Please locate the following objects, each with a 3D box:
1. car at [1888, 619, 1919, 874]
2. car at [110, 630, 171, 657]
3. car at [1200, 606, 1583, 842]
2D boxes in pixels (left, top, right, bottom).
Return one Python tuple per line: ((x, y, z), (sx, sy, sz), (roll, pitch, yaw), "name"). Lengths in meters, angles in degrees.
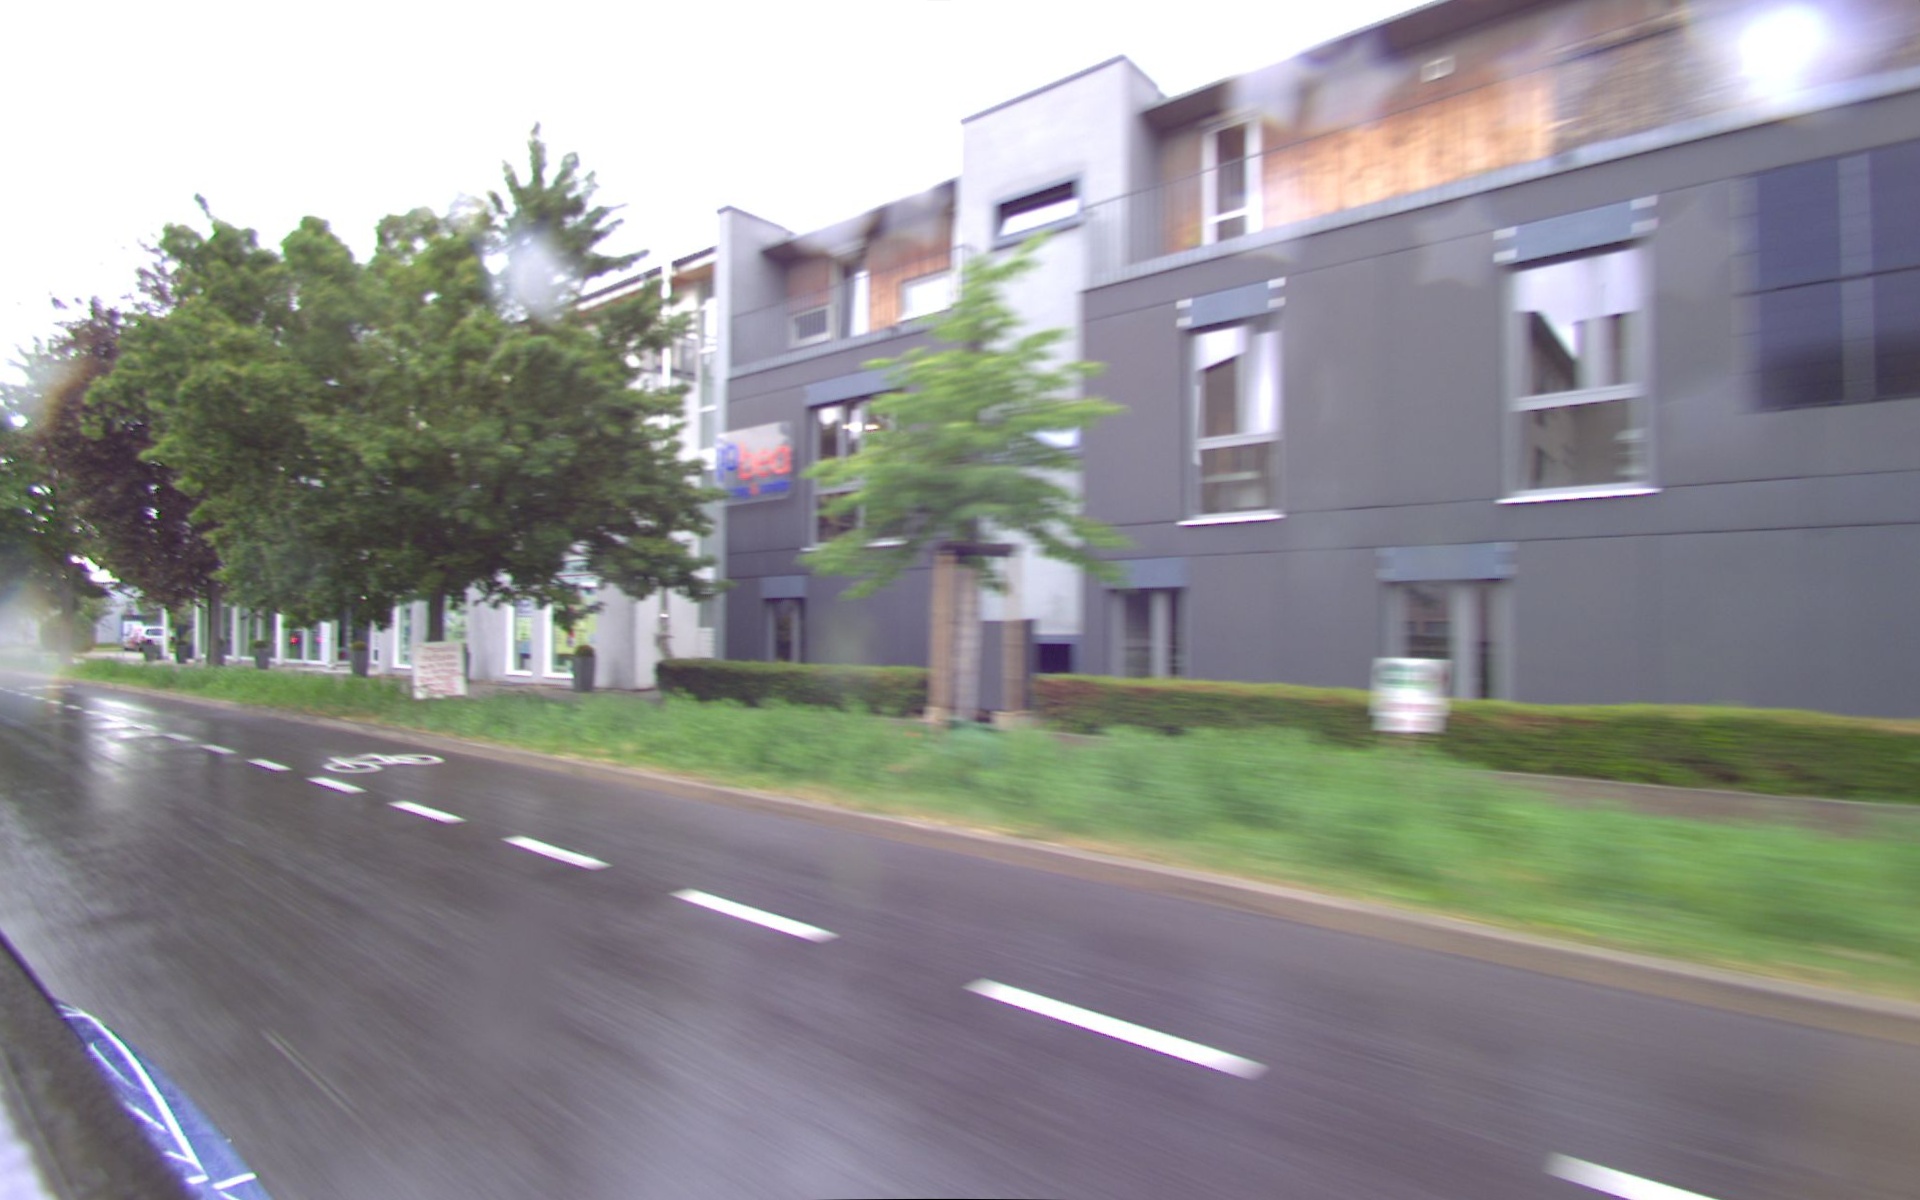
((5.420, 0.698, 4.716), (1.470, 1.168, 2.878), (-1, -3, 40), "car")
((-60.325, 3.226, 74.499), (5.595, 1.836, 2.016), (-3, -2, 35), "car")
((3.410, 0.770, 7.576), (1.581, 1.294, 3.860), (-1, -3, 40), "car")
